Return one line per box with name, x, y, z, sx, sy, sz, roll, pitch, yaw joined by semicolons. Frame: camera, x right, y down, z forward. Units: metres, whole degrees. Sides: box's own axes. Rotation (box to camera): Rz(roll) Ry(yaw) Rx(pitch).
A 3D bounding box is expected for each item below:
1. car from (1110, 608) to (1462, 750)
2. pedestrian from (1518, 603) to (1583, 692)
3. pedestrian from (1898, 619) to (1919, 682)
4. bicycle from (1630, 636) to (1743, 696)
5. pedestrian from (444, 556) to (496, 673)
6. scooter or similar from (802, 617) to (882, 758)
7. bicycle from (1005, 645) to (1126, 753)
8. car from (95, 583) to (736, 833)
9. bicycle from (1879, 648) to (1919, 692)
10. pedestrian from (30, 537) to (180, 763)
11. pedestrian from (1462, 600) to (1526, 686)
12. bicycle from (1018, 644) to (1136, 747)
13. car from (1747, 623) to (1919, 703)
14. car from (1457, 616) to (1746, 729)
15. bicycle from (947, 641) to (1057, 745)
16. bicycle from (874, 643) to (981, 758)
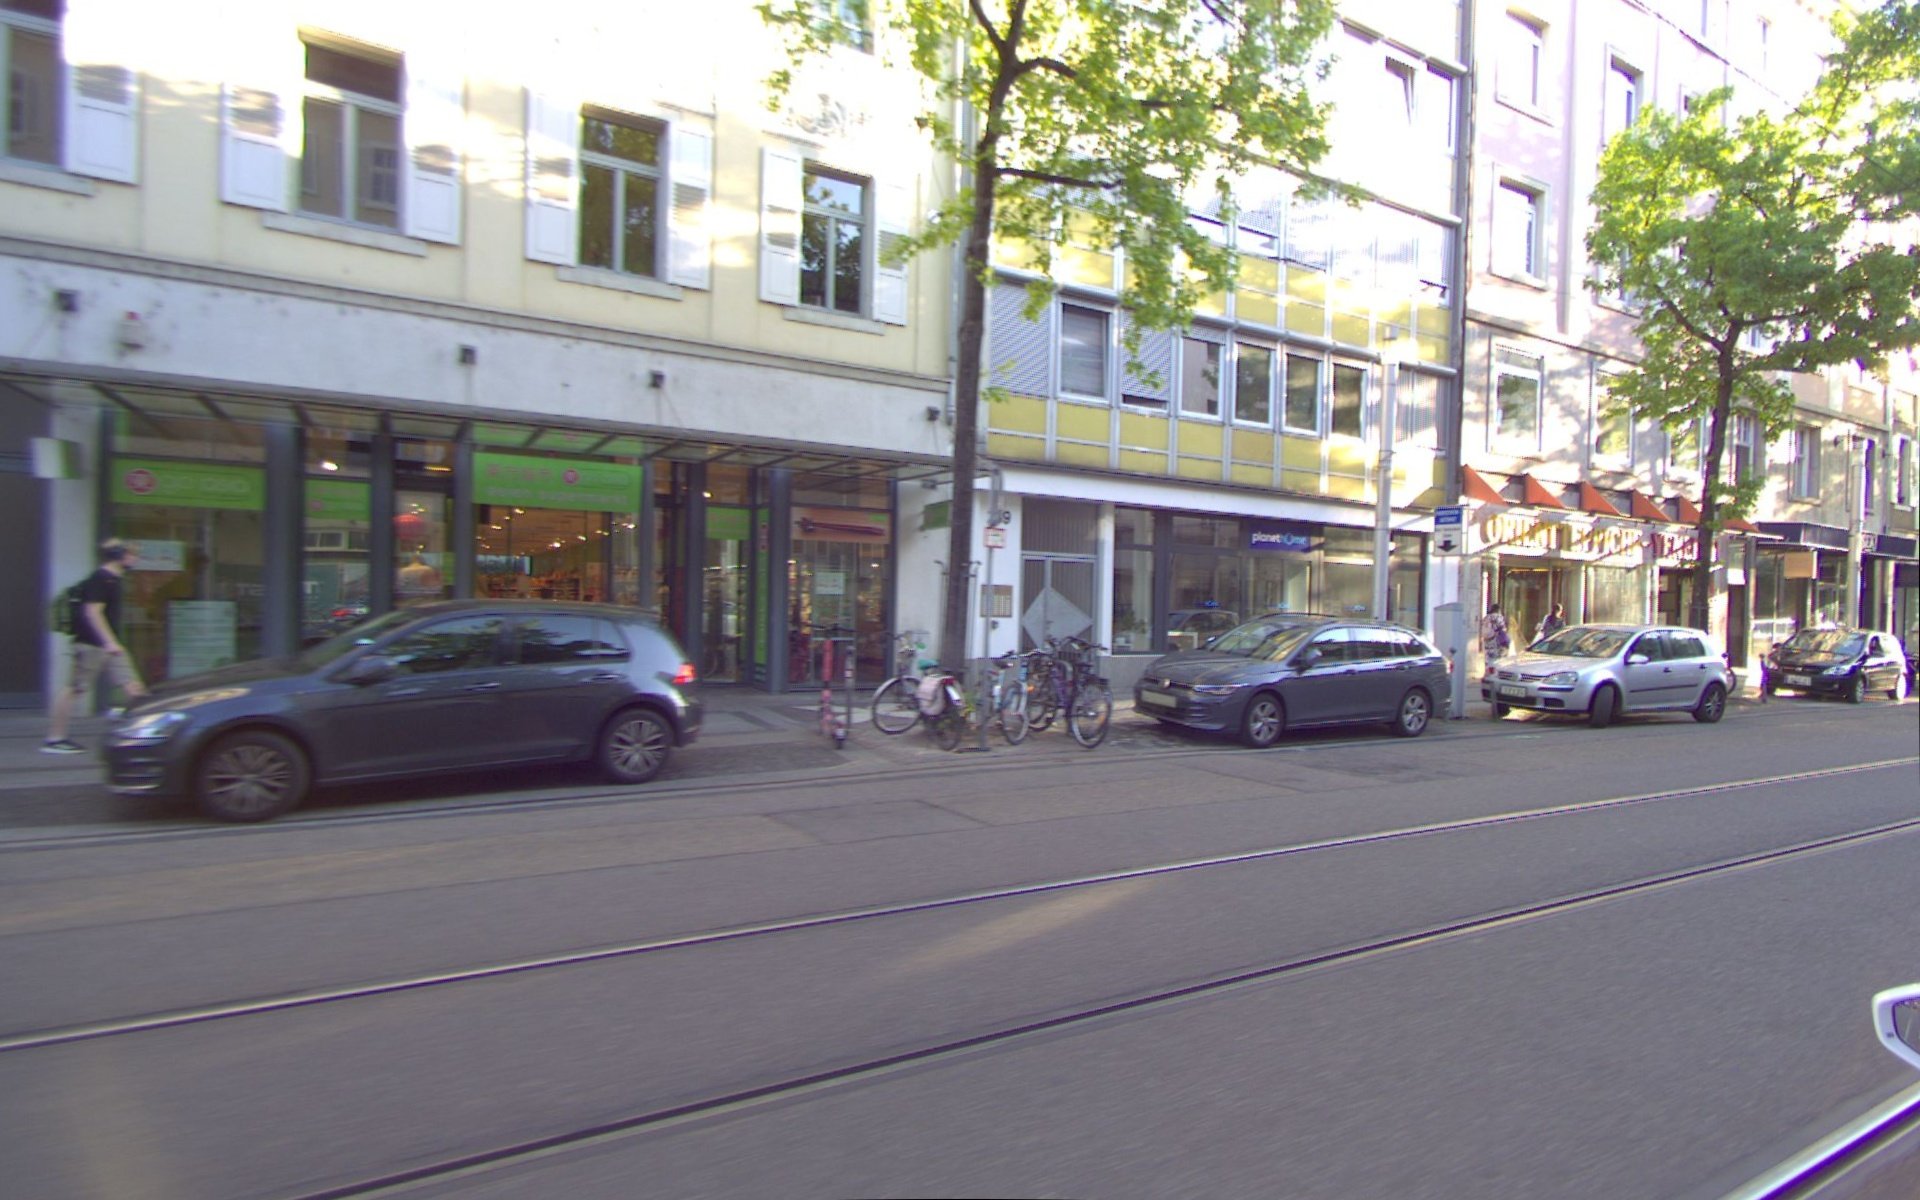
car;4.211;0.914;12.781;4.433;1.480;1.703;1;1;-30
pedestrian;11.766;0.931;20.025;0.732;1.716;0.839;1;0;-30
pedestrian;31.271;1.649;32.820;0.635;2.040;0.718;1;0;-30
bicycle;14.761;1.324;20.457;0.436;1.079;1.796;1;1;-37
pedestrian;-7.774;0.226;15.920;0.677;1.802;0.665;1;0;-31
scooter or similar;-1.245;0.859;10.379;0.370;1.288;1.415;1;2;-25
bicycle;1.140;1.062;11.313;0.326;1.015;1.963;1;0;-26
car;-4.167;0.703;8.192;4.202;1.510;1.779;1;1;-36
bicycle;22.477;1.657;23.326;0.426;0.978;1.611;1;2;-24
pedestrian;-7.370;0.400;8.703;0.868;1.850;0.656;1;3;-30
pedestrian;11.020;0.871;20.730;0.903;1.716;0.785;1;0;-31
bicycle;1.325;1.067;11.769;0.326;1.015;1.963;1;0;-27
car;18.671;1.297;21.423;3.783;1.448;1.657;1;3;-31
car;9.957;1.082;15.585;4.116;1.517;1.763;2;0;-23
bicycle;0.443;1.032;11.675;0.414;1.015;1.965;1;0;-25
bicycle;-0.391;1.011;10.626;0.326;1.015;1.963;1;0;-26
